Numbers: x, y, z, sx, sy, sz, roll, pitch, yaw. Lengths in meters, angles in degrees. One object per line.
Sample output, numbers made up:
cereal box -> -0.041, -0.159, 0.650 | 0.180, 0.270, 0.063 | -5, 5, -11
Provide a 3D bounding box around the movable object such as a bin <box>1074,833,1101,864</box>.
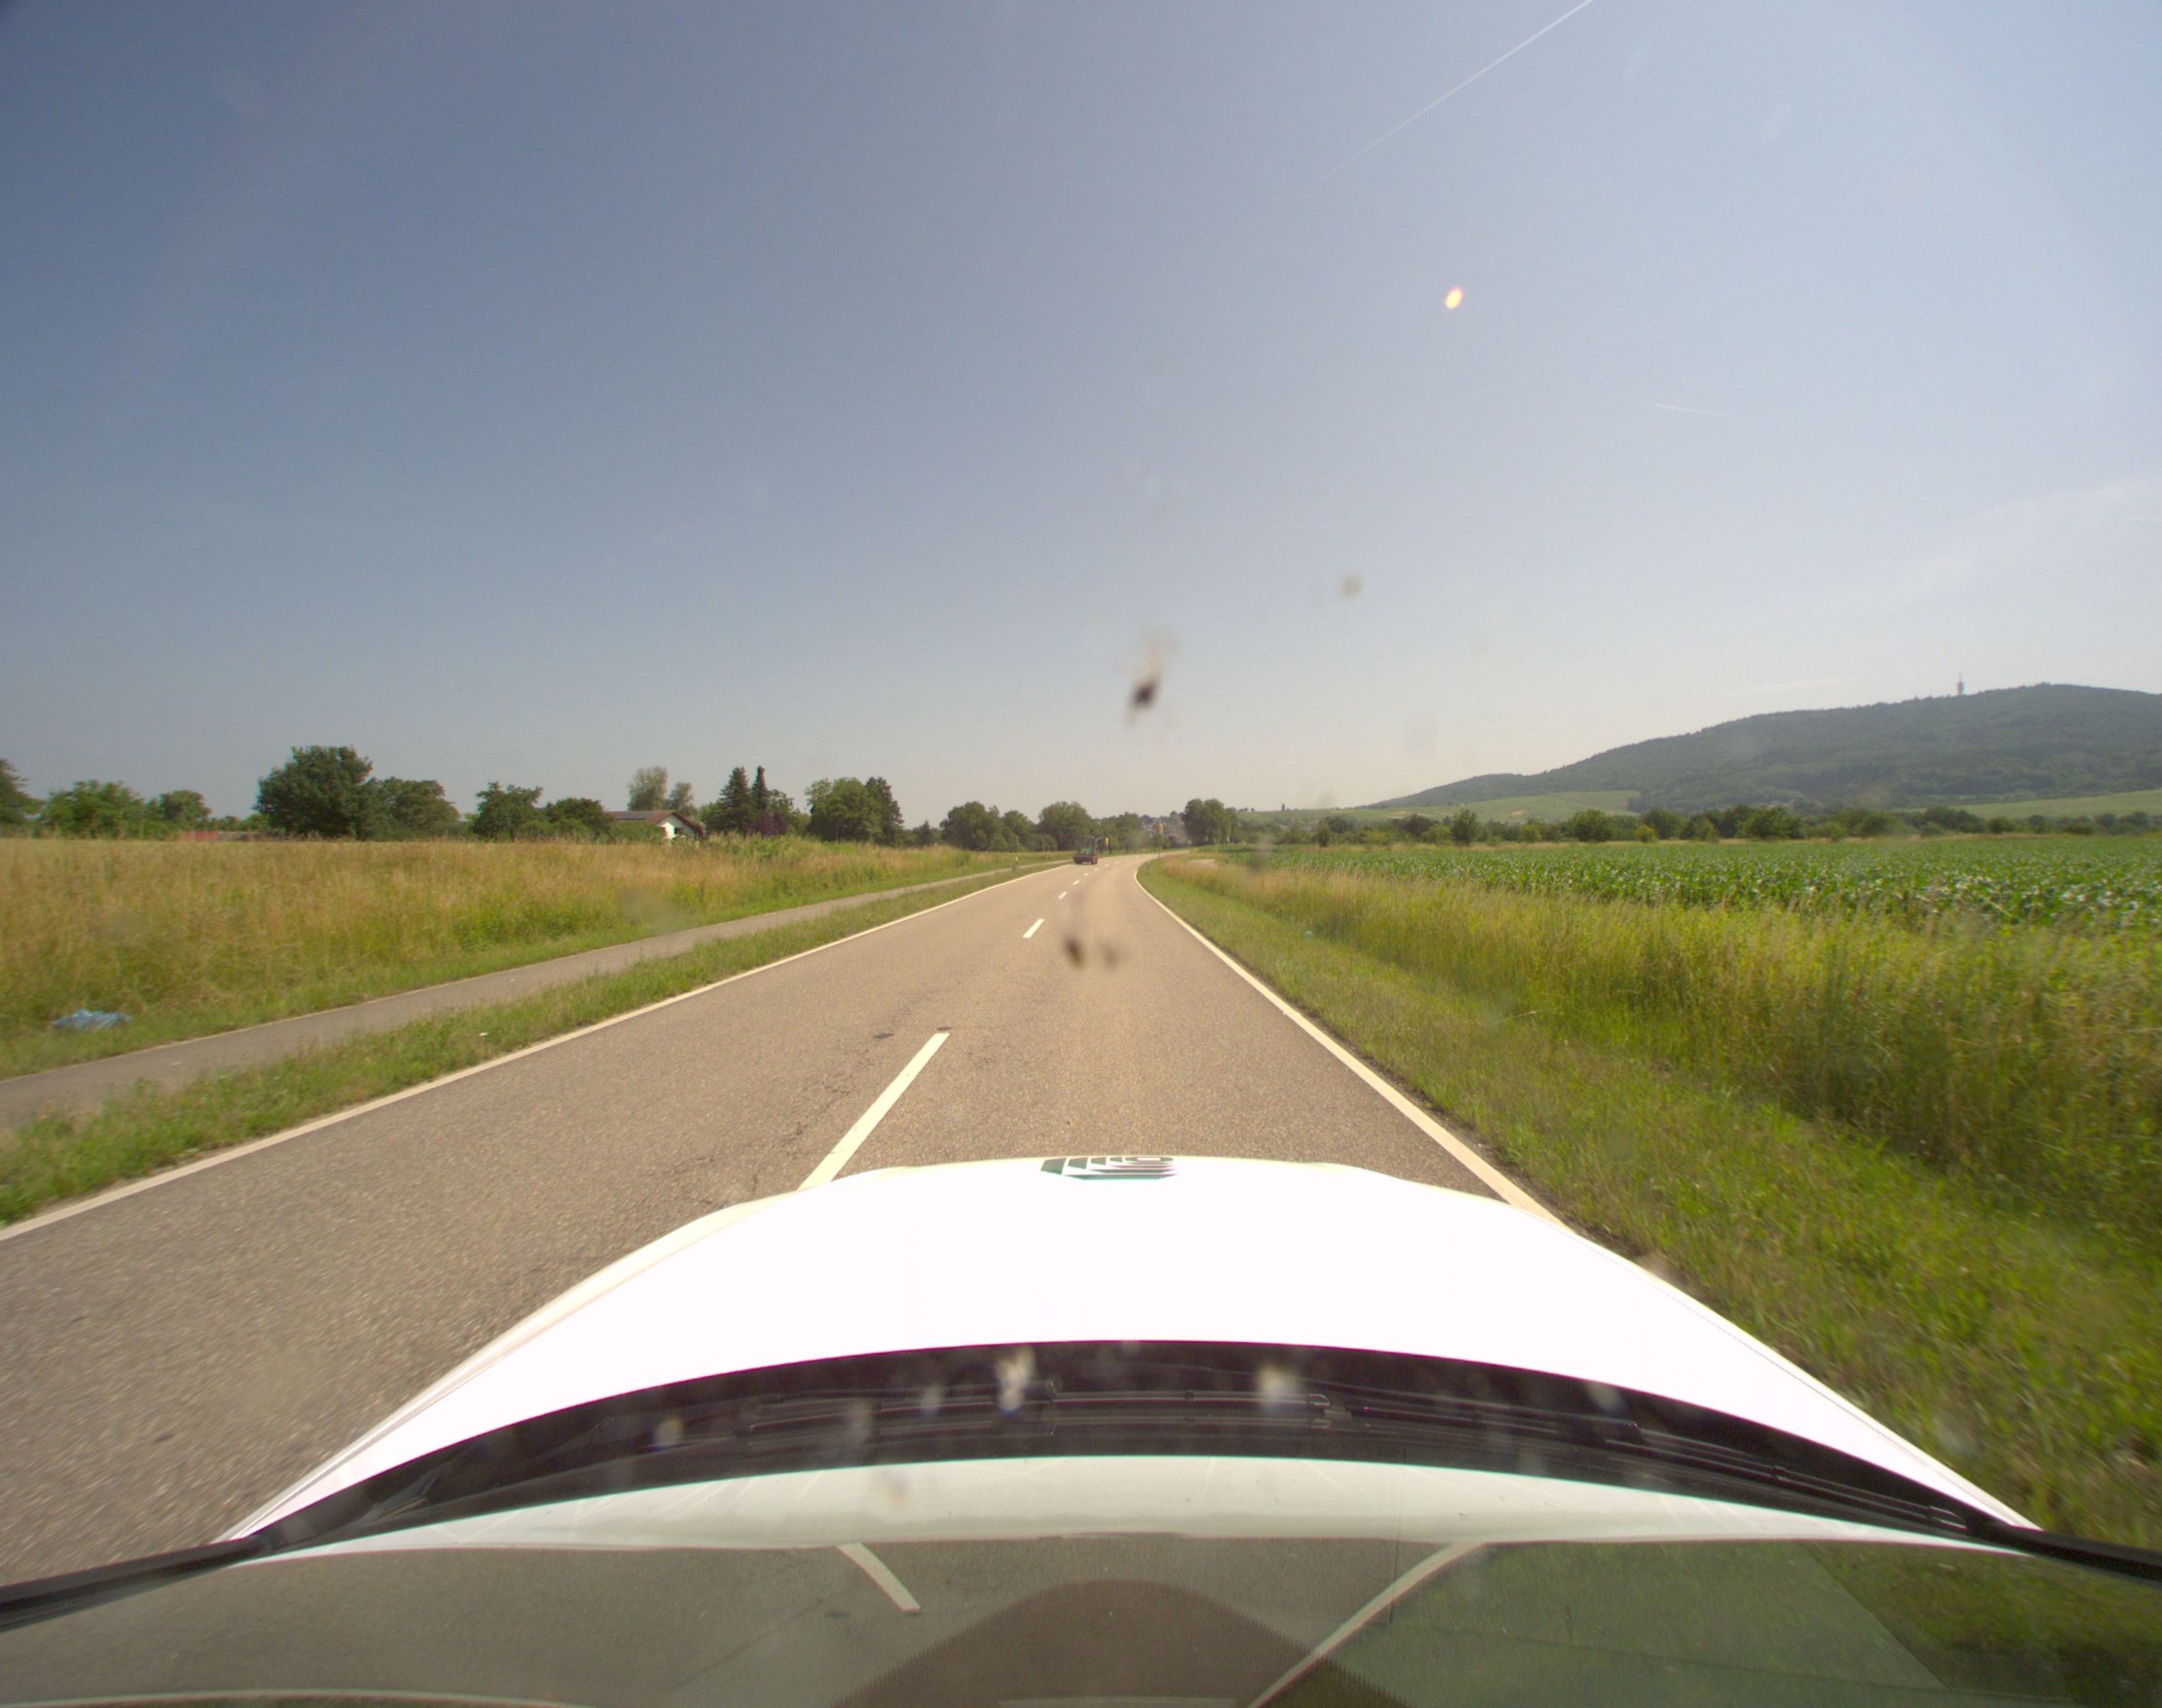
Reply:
movable object such as a bin -> 0.643, -0.537, 77.246 | 1.991, 2.754, 5.238 | 2, 1, 5
